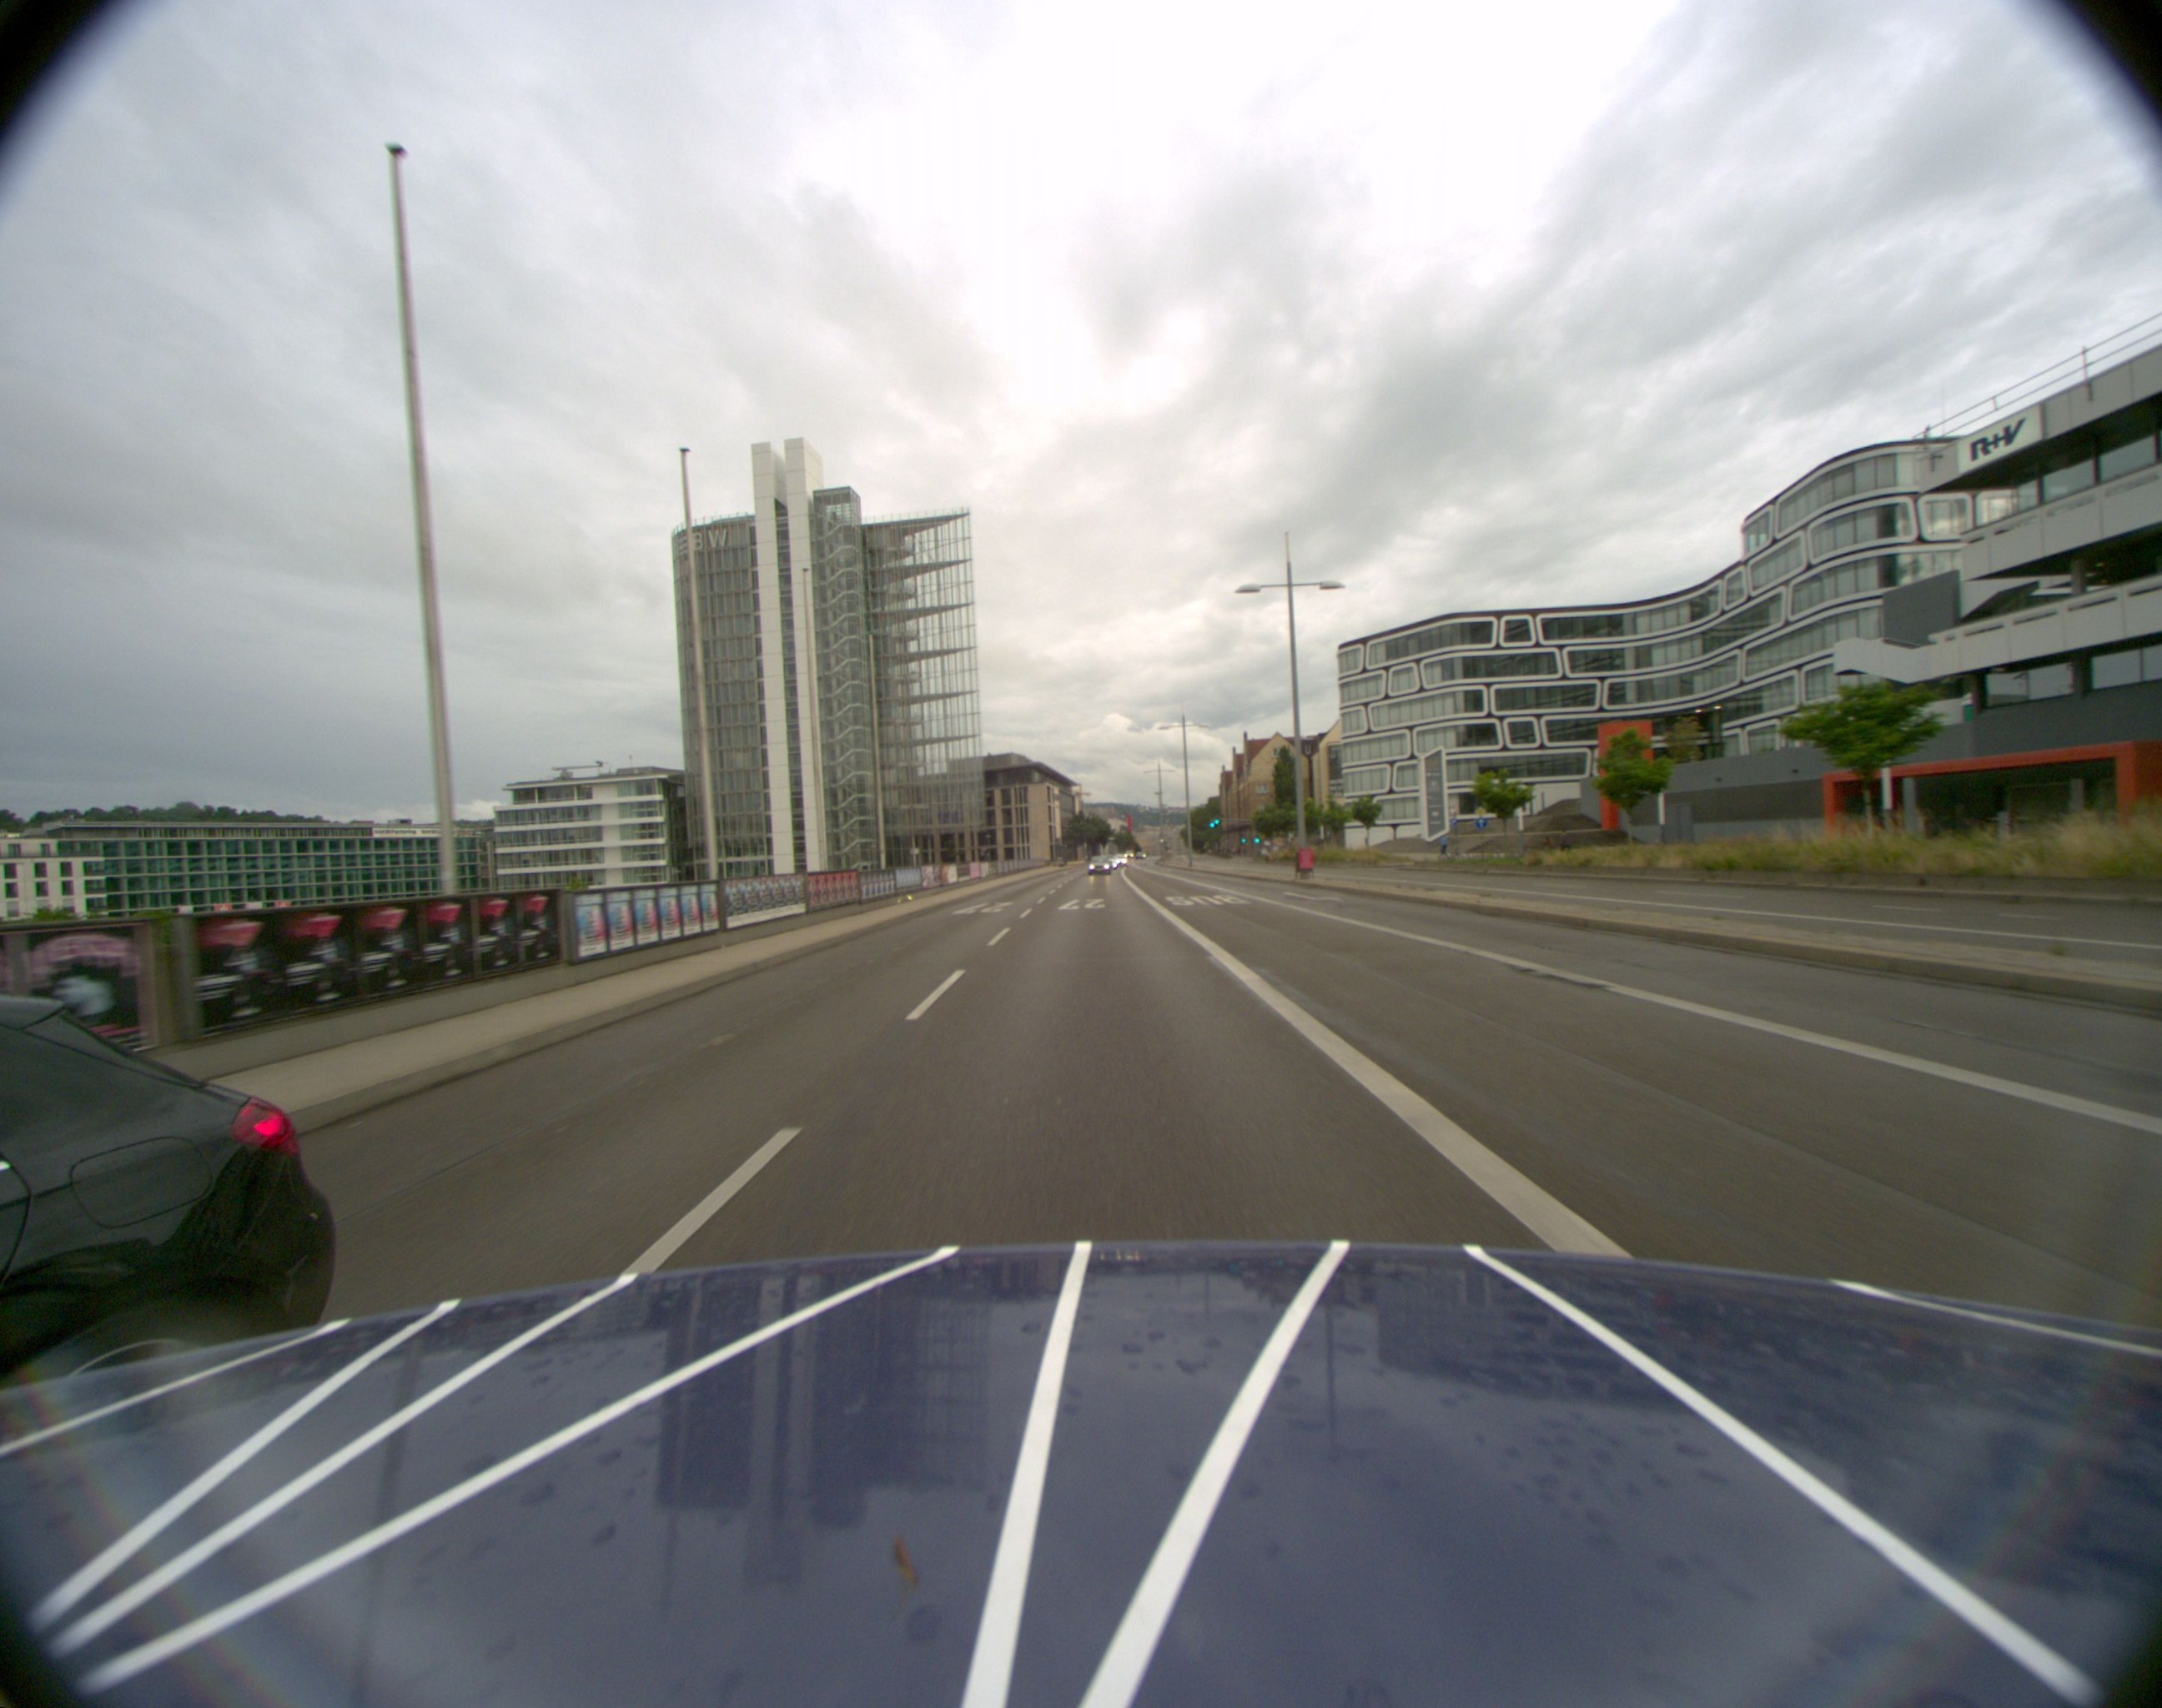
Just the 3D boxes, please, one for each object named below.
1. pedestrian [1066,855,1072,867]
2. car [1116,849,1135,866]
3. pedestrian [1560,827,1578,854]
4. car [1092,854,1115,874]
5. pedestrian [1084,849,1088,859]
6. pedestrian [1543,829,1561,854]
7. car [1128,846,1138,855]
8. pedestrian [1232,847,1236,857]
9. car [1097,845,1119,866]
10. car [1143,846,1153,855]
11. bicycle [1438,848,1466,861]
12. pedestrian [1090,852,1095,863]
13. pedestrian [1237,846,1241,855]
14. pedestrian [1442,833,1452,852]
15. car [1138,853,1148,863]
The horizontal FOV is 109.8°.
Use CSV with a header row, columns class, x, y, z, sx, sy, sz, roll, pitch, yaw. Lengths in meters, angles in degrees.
class,x,y,z,sx,sy,sz,roll,pitch,yaw
pedestrian,-1.680,0.913,105.024,0.660,1.601,0.547,-3,0,7
car,5.368,0.386,91.611,1.969,1.816,3.928,-3,2,7
pedestrian,29.510,-0.824,45.946,0.619,1.648,0.798,-1,2,2
car,1.699,0.724,58.752,1.684,1.379,3.475,-2,1,1
pedestrian,0.805,0.014,121.716,0.461,1.590,0.656,-2,2,3
pedestrian,28.441,-0.759,45.892,0.619,1.438,0.798,-2,2,2
car,12.802,-0.939,187.000,1.998,2.002,3.999,-2,1,0
pedestrian,29.316,-0.405,145.625,0.677,1.769,0.684,-2,2,7
car,2.726,0.130,76.396,1.998,2.002,3.999,-2,1,0
car,16.132,-0.862,182.543,1.998,2.002,3.999,-2,1,0
bicycle,25.452,0.013,52.166,0.610,0.852,1.653,-3,2,-32
pedestrian,1.874,0.523,124.031,0.728,1.761,0.783,-2,2,0
pedestrian,30.409,-0.646,146.200,0.677,1.769,0.684,-2,2,7
pedestrian,31.763,-1.004,65.935,0.612,1.602,0.640,-3,2,4
car,13.683,0.795,168.167,1.998,2.002,3.999,-2,1,0
